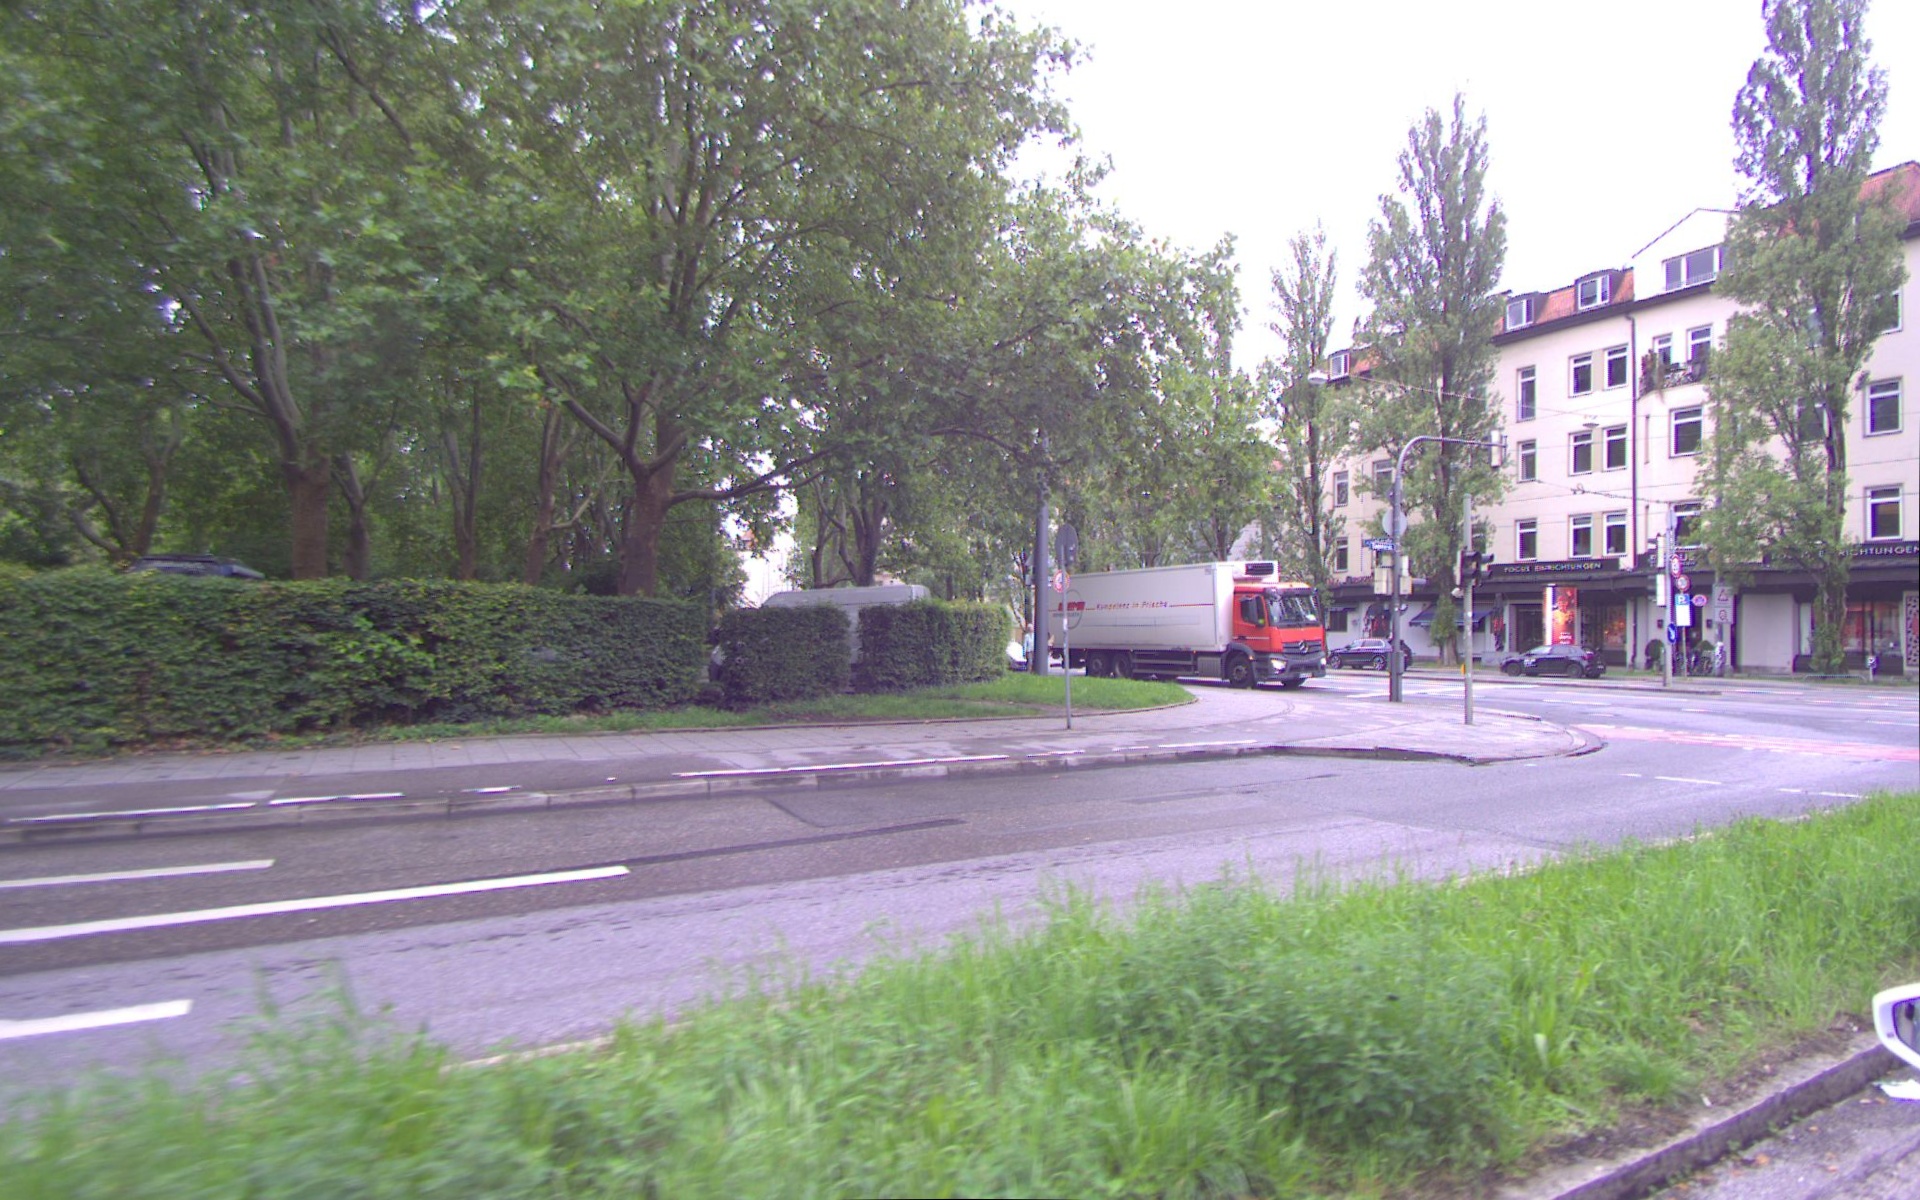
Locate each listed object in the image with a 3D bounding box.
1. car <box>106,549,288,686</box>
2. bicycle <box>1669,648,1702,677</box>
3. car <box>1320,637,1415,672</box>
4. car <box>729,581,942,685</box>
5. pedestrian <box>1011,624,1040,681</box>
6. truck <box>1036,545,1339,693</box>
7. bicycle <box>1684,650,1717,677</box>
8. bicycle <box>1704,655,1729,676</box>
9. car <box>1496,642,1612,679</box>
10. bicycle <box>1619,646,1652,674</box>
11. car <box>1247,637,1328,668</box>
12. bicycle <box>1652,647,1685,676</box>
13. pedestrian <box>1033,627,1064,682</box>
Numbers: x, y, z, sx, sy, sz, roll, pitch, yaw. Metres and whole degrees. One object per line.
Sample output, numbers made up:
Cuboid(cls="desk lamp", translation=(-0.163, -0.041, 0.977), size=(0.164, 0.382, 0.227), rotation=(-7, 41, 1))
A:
Cuboid(cls="car", translation=(-16.364, 0.360, 21.910), size=(1.974, 2.569, 5.824), rotation=(2, -1, -26))
Cuboid(cls="bicycle", translation=(30.861, 2.641, 42.697), size=(1.869, 1.200, 0.492), rotation=(2, -2, -33))
Cuboid(cls="car", translation=(20.788, 2.755, 51.374), size=(1.706, 1.633, 4.436), rotation=(2, -2, -29))
Cuboid(cls="car", translation=(-2.917, 0.798, 24.002), size=(4.536, 2.039, 2.001), rotation=(-5, -2, 12))
Cuboid(cls="pedestrian", translation=(1.986, 1.563, 30.265), size=(0.681, 1.685, 0.548), rotation=(2, -2, -42))
Cuboid(cls="truck", translation=(6.865, 0.689, 33.272), size=(2.715, 4.033, 11.626), rotation=(0, -2, -29))
Cuboid(cls="bicycle", translation=(31.158, 2.653, 42.264), size=(1.869, 1.096, 0.492), rotation=(2, -2, -33))
Cuboid(cls="bicycle", translation=(32.568, 2.806, 43.240), size=(1.357, 0.895, 0.385), rotation=(2, -2, -33))
Cuboid(cls="car", translation=(25.685, 2.614, 43.541), size=(1.786, 1.485, 3.965), rotation=(3, -3, -33))
Cuboid(cls="bicycle", translation=(29.948, 2.659, 44.534), size=(1.869, 1.200, 0.492), rotation=(2, -2, -33))
Cuboid(cls="car", translation=(18.251, 2.915, 56.159), size=(1.784, 1.633, 4.272), rotation=(2, -2, -30))
Cuboid(cls="bicycle", translation=(30.591, 2.640, 43.347), size=(1.869, 1.200, 0.492), rotation=(2, -2, -33))
Cuboid(cls="pedestrian", translation=(2.716, 1.665, 30.926), size=(0.681, 1.685, 0.653), rotation=(2, -2, -42))
